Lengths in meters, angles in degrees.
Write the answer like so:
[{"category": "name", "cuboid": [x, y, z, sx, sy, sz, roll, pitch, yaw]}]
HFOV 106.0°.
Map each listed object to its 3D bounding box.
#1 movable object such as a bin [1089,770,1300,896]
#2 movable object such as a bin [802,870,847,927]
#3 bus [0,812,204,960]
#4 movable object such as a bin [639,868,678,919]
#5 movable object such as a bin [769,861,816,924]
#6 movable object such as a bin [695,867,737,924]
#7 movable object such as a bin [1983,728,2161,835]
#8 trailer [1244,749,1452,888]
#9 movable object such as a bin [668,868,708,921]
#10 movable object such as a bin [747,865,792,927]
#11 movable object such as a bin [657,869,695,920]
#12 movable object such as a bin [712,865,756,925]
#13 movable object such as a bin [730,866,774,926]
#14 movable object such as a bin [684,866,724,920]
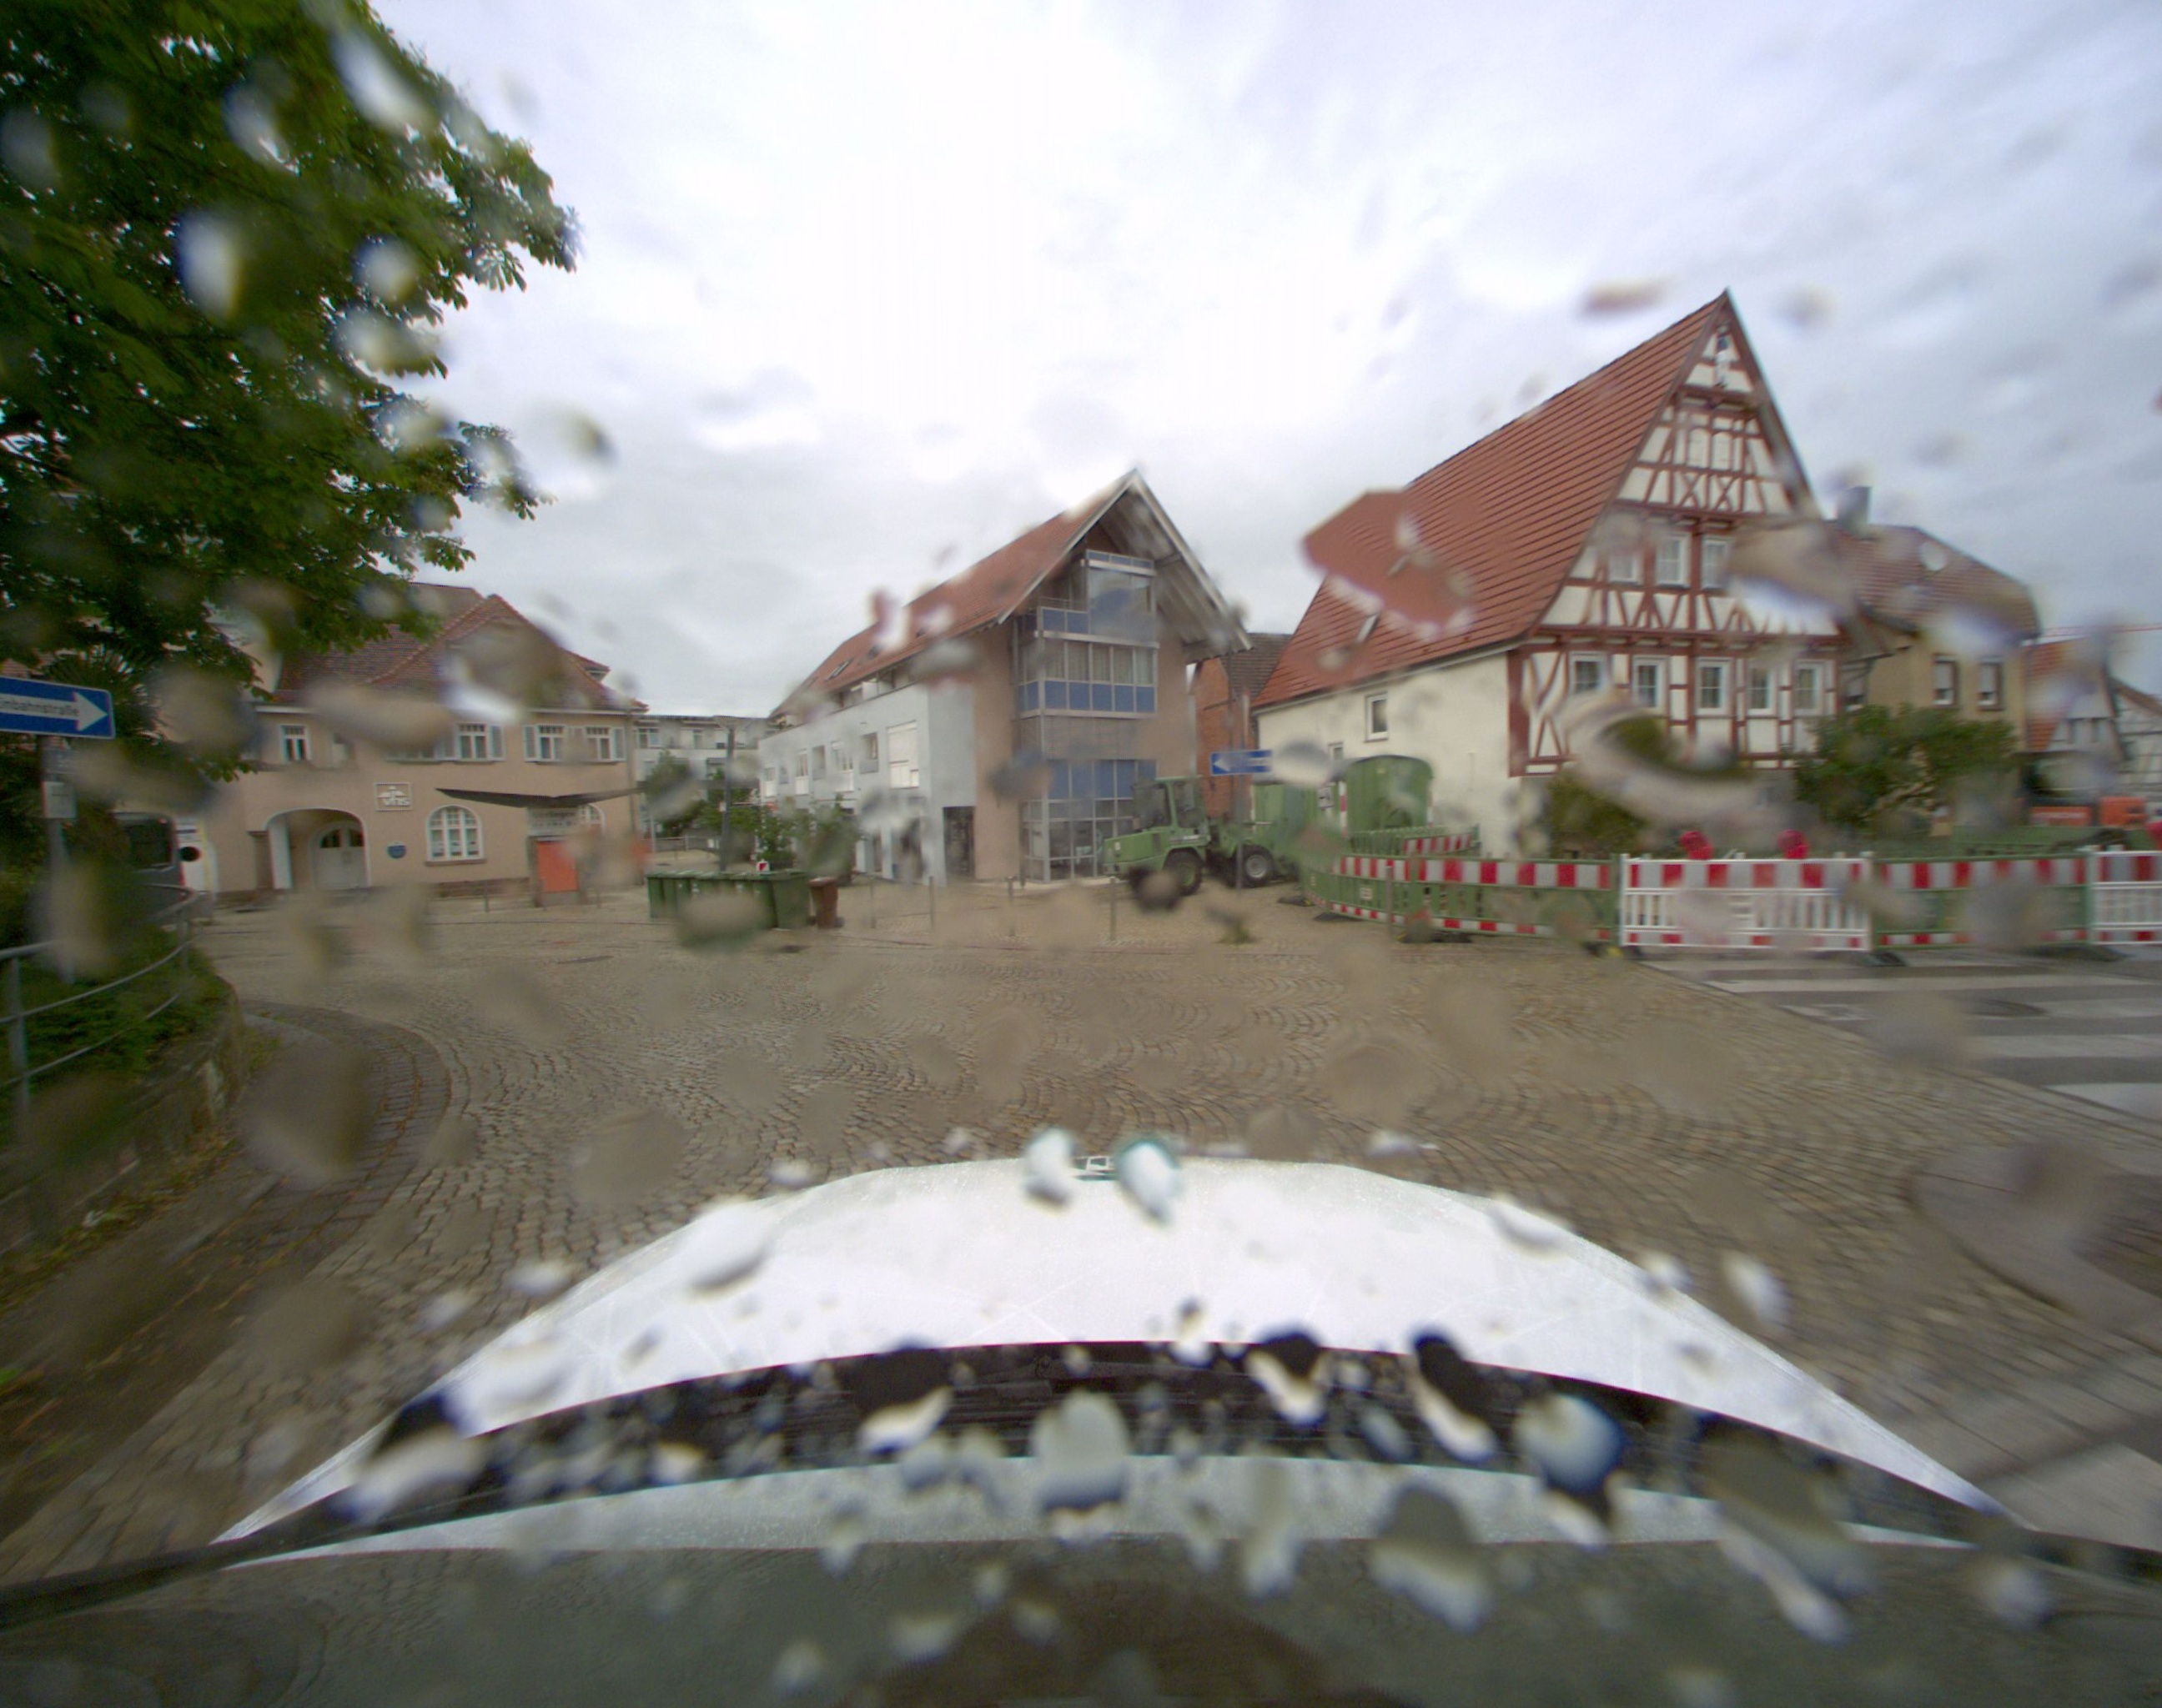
[{"category": "movable object such as a bin", "cuboid": [2.551, -0.517, 18.441, 4.292, 2.554, 1.899, -3, 1, -20]}, {"category": "movable object such as a bin", "cuboid": [-4.720, 0.805, 14.995, 0.492, 0.991, 0.565, -2, 2, 30]}, {"category": "bus", "cuboid": [-26.495, 0.784, 17.867, 10.504, 2.989, 2.785, -2, 3, -5]}, {"category": "movable object such as a bin", "cuboid": [-9.826, 0.921, 18.937, 0.533, 1.126, 0.542, -2, 2, 29]}, {"category": "movable object such as a bin", "cuboid": [-5.456, 0.716, 15.410, 0.543, 1.126, 0.565, -2, 2, 39]}, {"category": "movable object such as a bin", "cuboid": [-7.601, 0.861, 16.968, 0.543, 1.126, 0.565, -2, 2, 39]}, {"category": "movable object such as a bin", "cuboid": [21.139, -1.427, 17.049, 4.005, 2.013, 1.896, -1, 1, -24]}, {"category": "trailer", "cuboid": [6.038, -0.865, 19.196, 2.489, 2.835, 4.609, -1, 4, -16]}, {"category": "movable object such as a bin", "cuboid": [-8.816, 0.908, 18.256, 0.543, 1.126, 0.565, -2, 2, 39]}, {"category": "movable object such as a bin", "cuboid": [-5.996, 0.800, 15.683, 0.543, 1.126, 0.565, -2, 2, 39]}, {"category": "movable object such as a bin", "cuboid": [-9.263, 0.920, 18.631, 0.532, 1.126, 0.542, -2, 2, 39]}, {"category": "movable object such as a bin", "cuboid": [-7.048, 0.827, 16.537, 0.543, 1.159, 0.565, -2, 2, 39]}, {"category": "movable object such as a bin", "cuboid": [-6.529, 0.831, 16.155, 0.535, 1.126, 0.565, -2, 2, 39]}, {"category": "movable object such as a bin", "cuboid": [-8.318, 0.848, 17.977, 0.543, 1.126, 0.565, -2, 2, 39]}]
